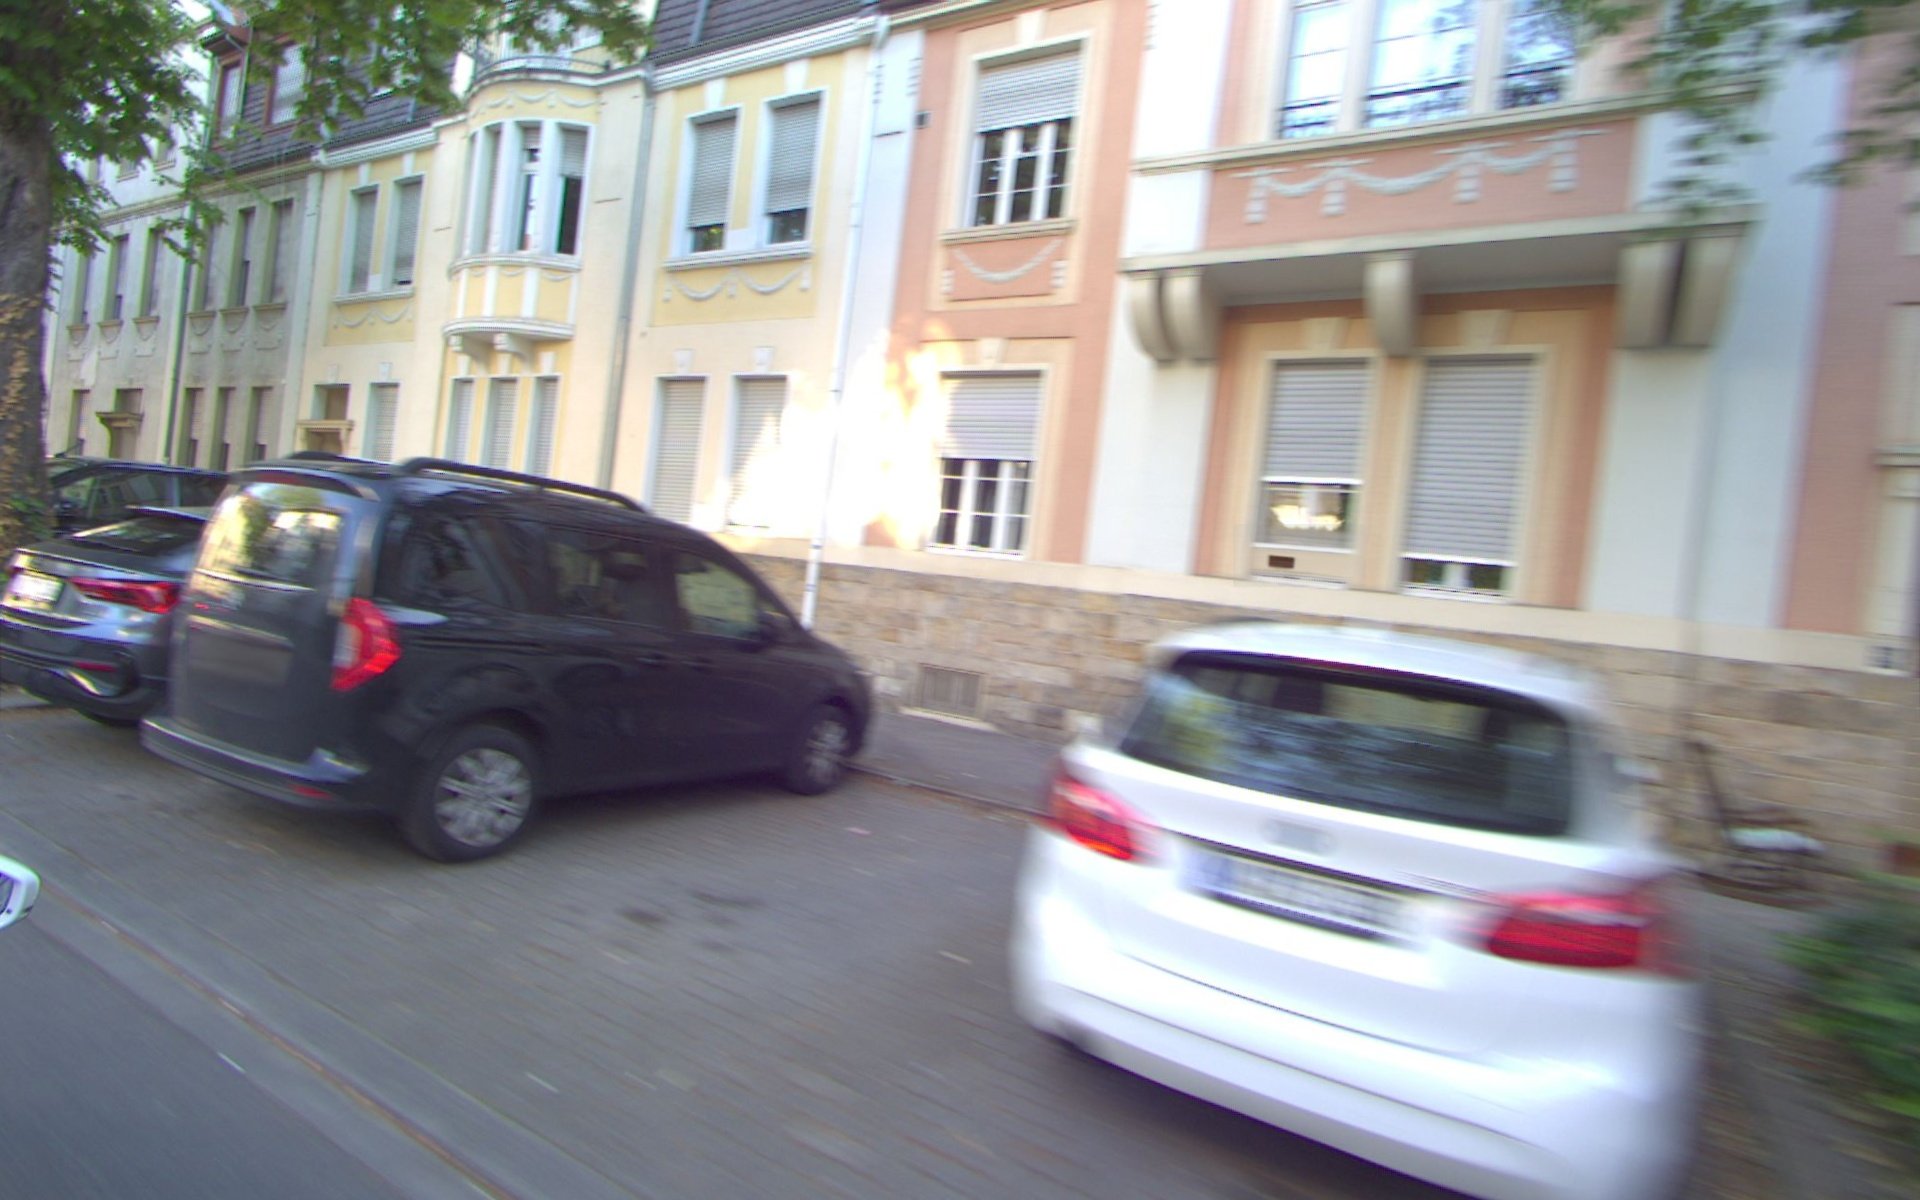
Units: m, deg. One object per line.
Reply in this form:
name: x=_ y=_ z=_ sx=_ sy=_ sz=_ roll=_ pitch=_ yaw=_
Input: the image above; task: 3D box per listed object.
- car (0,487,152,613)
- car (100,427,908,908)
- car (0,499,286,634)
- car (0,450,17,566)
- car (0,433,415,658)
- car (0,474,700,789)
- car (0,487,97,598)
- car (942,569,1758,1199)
car: x=-12.627 y=-0.744 z=12.161 sx=1.693 sy=1.470 sz=4.059 roll=7 pitch=0 yaw=28
car: x=-2.273 y=0.306 z=6.172 sx=1.813 sy=1.860 sz=4.115 roll=7 pitch=1 yaw=30
car: x=-10.398 y=-0.410 z=11.498 sx=1.601 sy=1.332 sz=4.143 roll=7 pitch=0 yaw=27
car: x=-18.819 y=-1.832 z=16.524 sx=1.672 sy=2.062 sz=4.472 roll=7 pitch=1 yaw=29
car: x=-8.355 y=-0.488 z=10.066 sx=1.864 sy=1.898 sz=4.758 roll=7 pitch=0 yaw=27
car: x=-4.235 y=0.202 z=7.460 sx=1.813 sy=1.542 sz=4.517 roll=7 pitch=0 yaw=27
car: x=-14.322 y=-0.948 z=13.513 sx=1.679 sy=1.470 sz=3.729 roll=7 pitch=0 yaw=28
car: x=1.751 y=0.904 z=4.115 sx=1.690 sy=1.597 sz=3.944 roll=7 pitch=1 yaw=31
